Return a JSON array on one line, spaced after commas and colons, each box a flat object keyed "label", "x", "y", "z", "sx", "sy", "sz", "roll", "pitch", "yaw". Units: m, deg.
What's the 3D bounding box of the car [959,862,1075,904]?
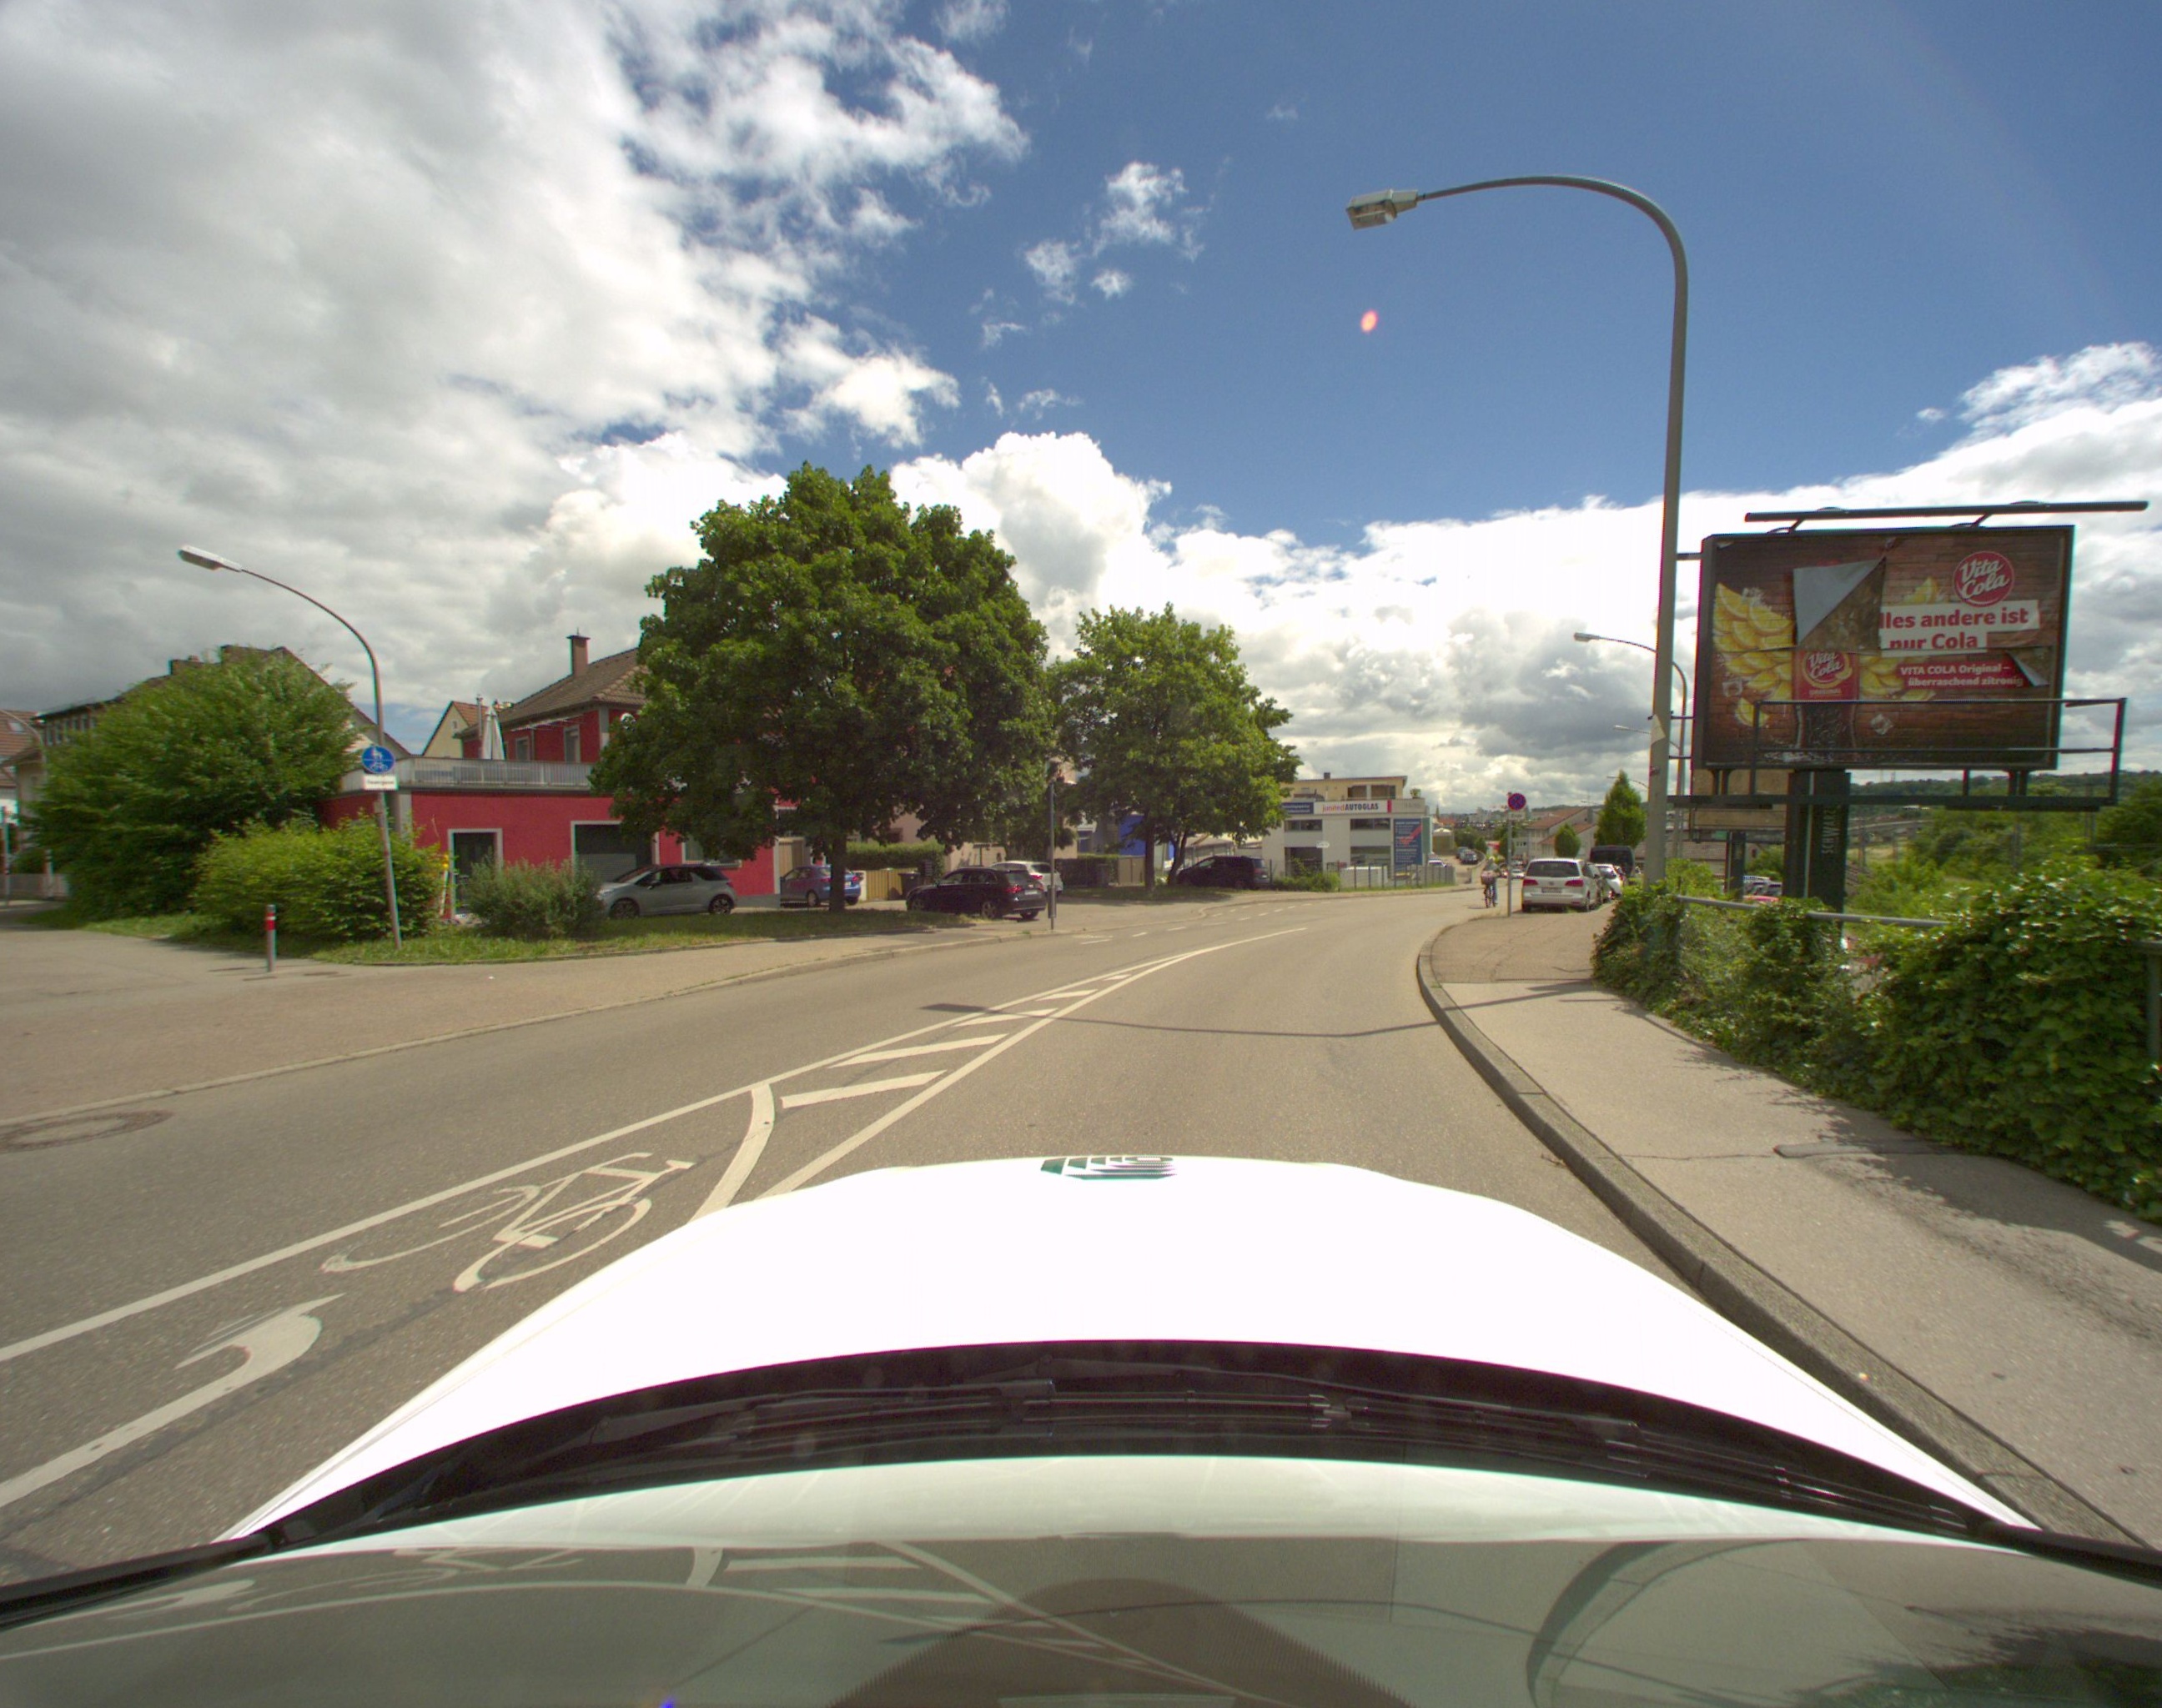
[{"label": "car", "x": -2.349, "y": 1.022, "z": 29.688, "sx": 3.881, "sy": 1.404, "sz": 1.888, "roll": -1, "pitch": -1, "yaw": 34}]

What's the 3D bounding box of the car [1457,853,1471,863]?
[{"label": "car", "x": 55.585, "y": 0.581, "z": 118.304, "sx": 1.655, "sy": 1.324, "sz": 3.738, "roll": -2, "pitch": -2, "yaw": 23}]

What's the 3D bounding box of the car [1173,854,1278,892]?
[{"label": "car", "x": 7.089, "y": 0.901, "z": 40.164, "sx": 4.653, "sy": 1.716, "sz": 2.012, "roll": 1, "pitch": -2, "yaw": 37}]

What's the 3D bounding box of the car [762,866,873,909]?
[{"label": "car", "x": -9.226, "y": 1.136, "z": 28.439, "sx": 3.764, "sy": 1.377, "sz": 1.855, "roll": -1, "pitch": 0, "yaw": 38}]

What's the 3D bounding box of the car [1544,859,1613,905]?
[{"label": "car", "x": 17.939, "y": 0.935, "z": 29.251, "sx": 1.689, "sy": 1.487, "sz": 4.602, "roll": 1, "pitch": 0, "yaw": 37}]

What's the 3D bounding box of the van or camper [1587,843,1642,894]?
[{"label": "van or camper", "x": 29.061, "y": 0.796, "z": 44.271, "sx": 2.104, "sy": 2.585, "sz": 5.954, "roll": -1, "pitch": -2, "yaw": 37}]

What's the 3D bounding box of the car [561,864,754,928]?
[{"label": "car", "x": -10.801, "y": 0.999, "z": 21.023, "sx": 1.624, "sy": 1.425, "sz": 4.104, "roll": 1, "pitch": 0, "yaw": 37}]

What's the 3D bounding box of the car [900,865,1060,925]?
[{"label": "car", "x": -2.817, "y": 1.040, "z": 22.307, "sx": 4.091, "sy": 1.393, "sz": 2.013, "roll": 1, "pitch": 0, "yaw": 38}]

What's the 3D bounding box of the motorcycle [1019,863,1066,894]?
[{"label": "motorcycle", "x": -1.742, "y": 1.092, "z": 36.874, "sx": 0.908, "sy": 1.315, "sz": 2.250, "roll": 1, "pitch": 0, "yaw": 36}]

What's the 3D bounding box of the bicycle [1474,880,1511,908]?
[{"label": "bicycle", "x": 13.589, "y": 1.308, "z": 26.888, "sx": 0.681, "sy": 0.878, "sz": 2.115, "roll": -3, "pitch": -3, "yaw": 37}]

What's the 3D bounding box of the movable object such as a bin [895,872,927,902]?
[{"label": "movable object such as a bin", "x": -6.450, "y": 1.244, "z": 30.926, "sx": 0.748, "sy": 1.061, "sz": 0.886, "roll": 0, "pitch": 0, "yaw": 41}]

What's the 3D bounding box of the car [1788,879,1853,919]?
[{"label": "car", "x": 32.372, "y": 1.922, "z": 35.764, "sx": 1.689, "sy": 1.510, "sz": 4.558, "roll": 0, "pitch": 0, "yaw": 37}]

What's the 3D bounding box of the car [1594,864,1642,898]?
[{"label": "car", "x": 25.752, "y": 1.256, "z": 39.007, "sx": 1.689, "sy": 1.510, "sz": 3.719, "roll": 0, "pitch": 0, "yaw": 37}]

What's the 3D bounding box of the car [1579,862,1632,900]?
[{"label": "car", "x": 22.497, "y": 1.099, "z": 34.885, "sx": 1.689, "sy": 1.479, "sz": 3.983, "roll": 1, "pitch": 0, "yaw": 36}]

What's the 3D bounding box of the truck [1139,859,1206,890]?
[{"label": "truck", "x": 8.537, "y": 1.921, "z": 75.992, "sx": 5.729, "sy": 2.707, "sz": 2.189, "roll": -2, "pitch": -3, "yaw": 24}]

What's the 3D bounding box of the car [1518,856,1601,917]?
[{"label": "car", "x": 14.672, "y": 0.919, "z": 24.870, "sx": 1.689, "sy": 1.678, "sz": 4.335, "roll": 0, "pitch": 0, "yaw": 37}]

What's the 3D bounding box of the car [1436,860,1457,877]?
[{"label": "car", "x": 36.821, "y": 1.473, "z": 82.123, "sx": 1.831, "sy": 1.651, "sz": 4.022, "roll": -2, "pitch": -2, "yaw": 23}]

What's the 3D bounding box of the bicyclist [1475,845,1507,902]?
[{"label": "bicyclist", "x": 13.535, "y": 0.644, "z": 26.866, "sx": 0.678, "sy": 1.826, "sz": 1.087, "roll": -3, "pitch": -3, "yaw": 37}]

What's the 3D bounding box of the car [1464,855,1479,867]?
[{"label": "car", "x": 48.805, "y": 0.857, "z": 101.746, "sx": 1.655, "sy": 1.324, "sz": 3.739, "roll": -1, "pitch": -3, "yaw": 26}]
